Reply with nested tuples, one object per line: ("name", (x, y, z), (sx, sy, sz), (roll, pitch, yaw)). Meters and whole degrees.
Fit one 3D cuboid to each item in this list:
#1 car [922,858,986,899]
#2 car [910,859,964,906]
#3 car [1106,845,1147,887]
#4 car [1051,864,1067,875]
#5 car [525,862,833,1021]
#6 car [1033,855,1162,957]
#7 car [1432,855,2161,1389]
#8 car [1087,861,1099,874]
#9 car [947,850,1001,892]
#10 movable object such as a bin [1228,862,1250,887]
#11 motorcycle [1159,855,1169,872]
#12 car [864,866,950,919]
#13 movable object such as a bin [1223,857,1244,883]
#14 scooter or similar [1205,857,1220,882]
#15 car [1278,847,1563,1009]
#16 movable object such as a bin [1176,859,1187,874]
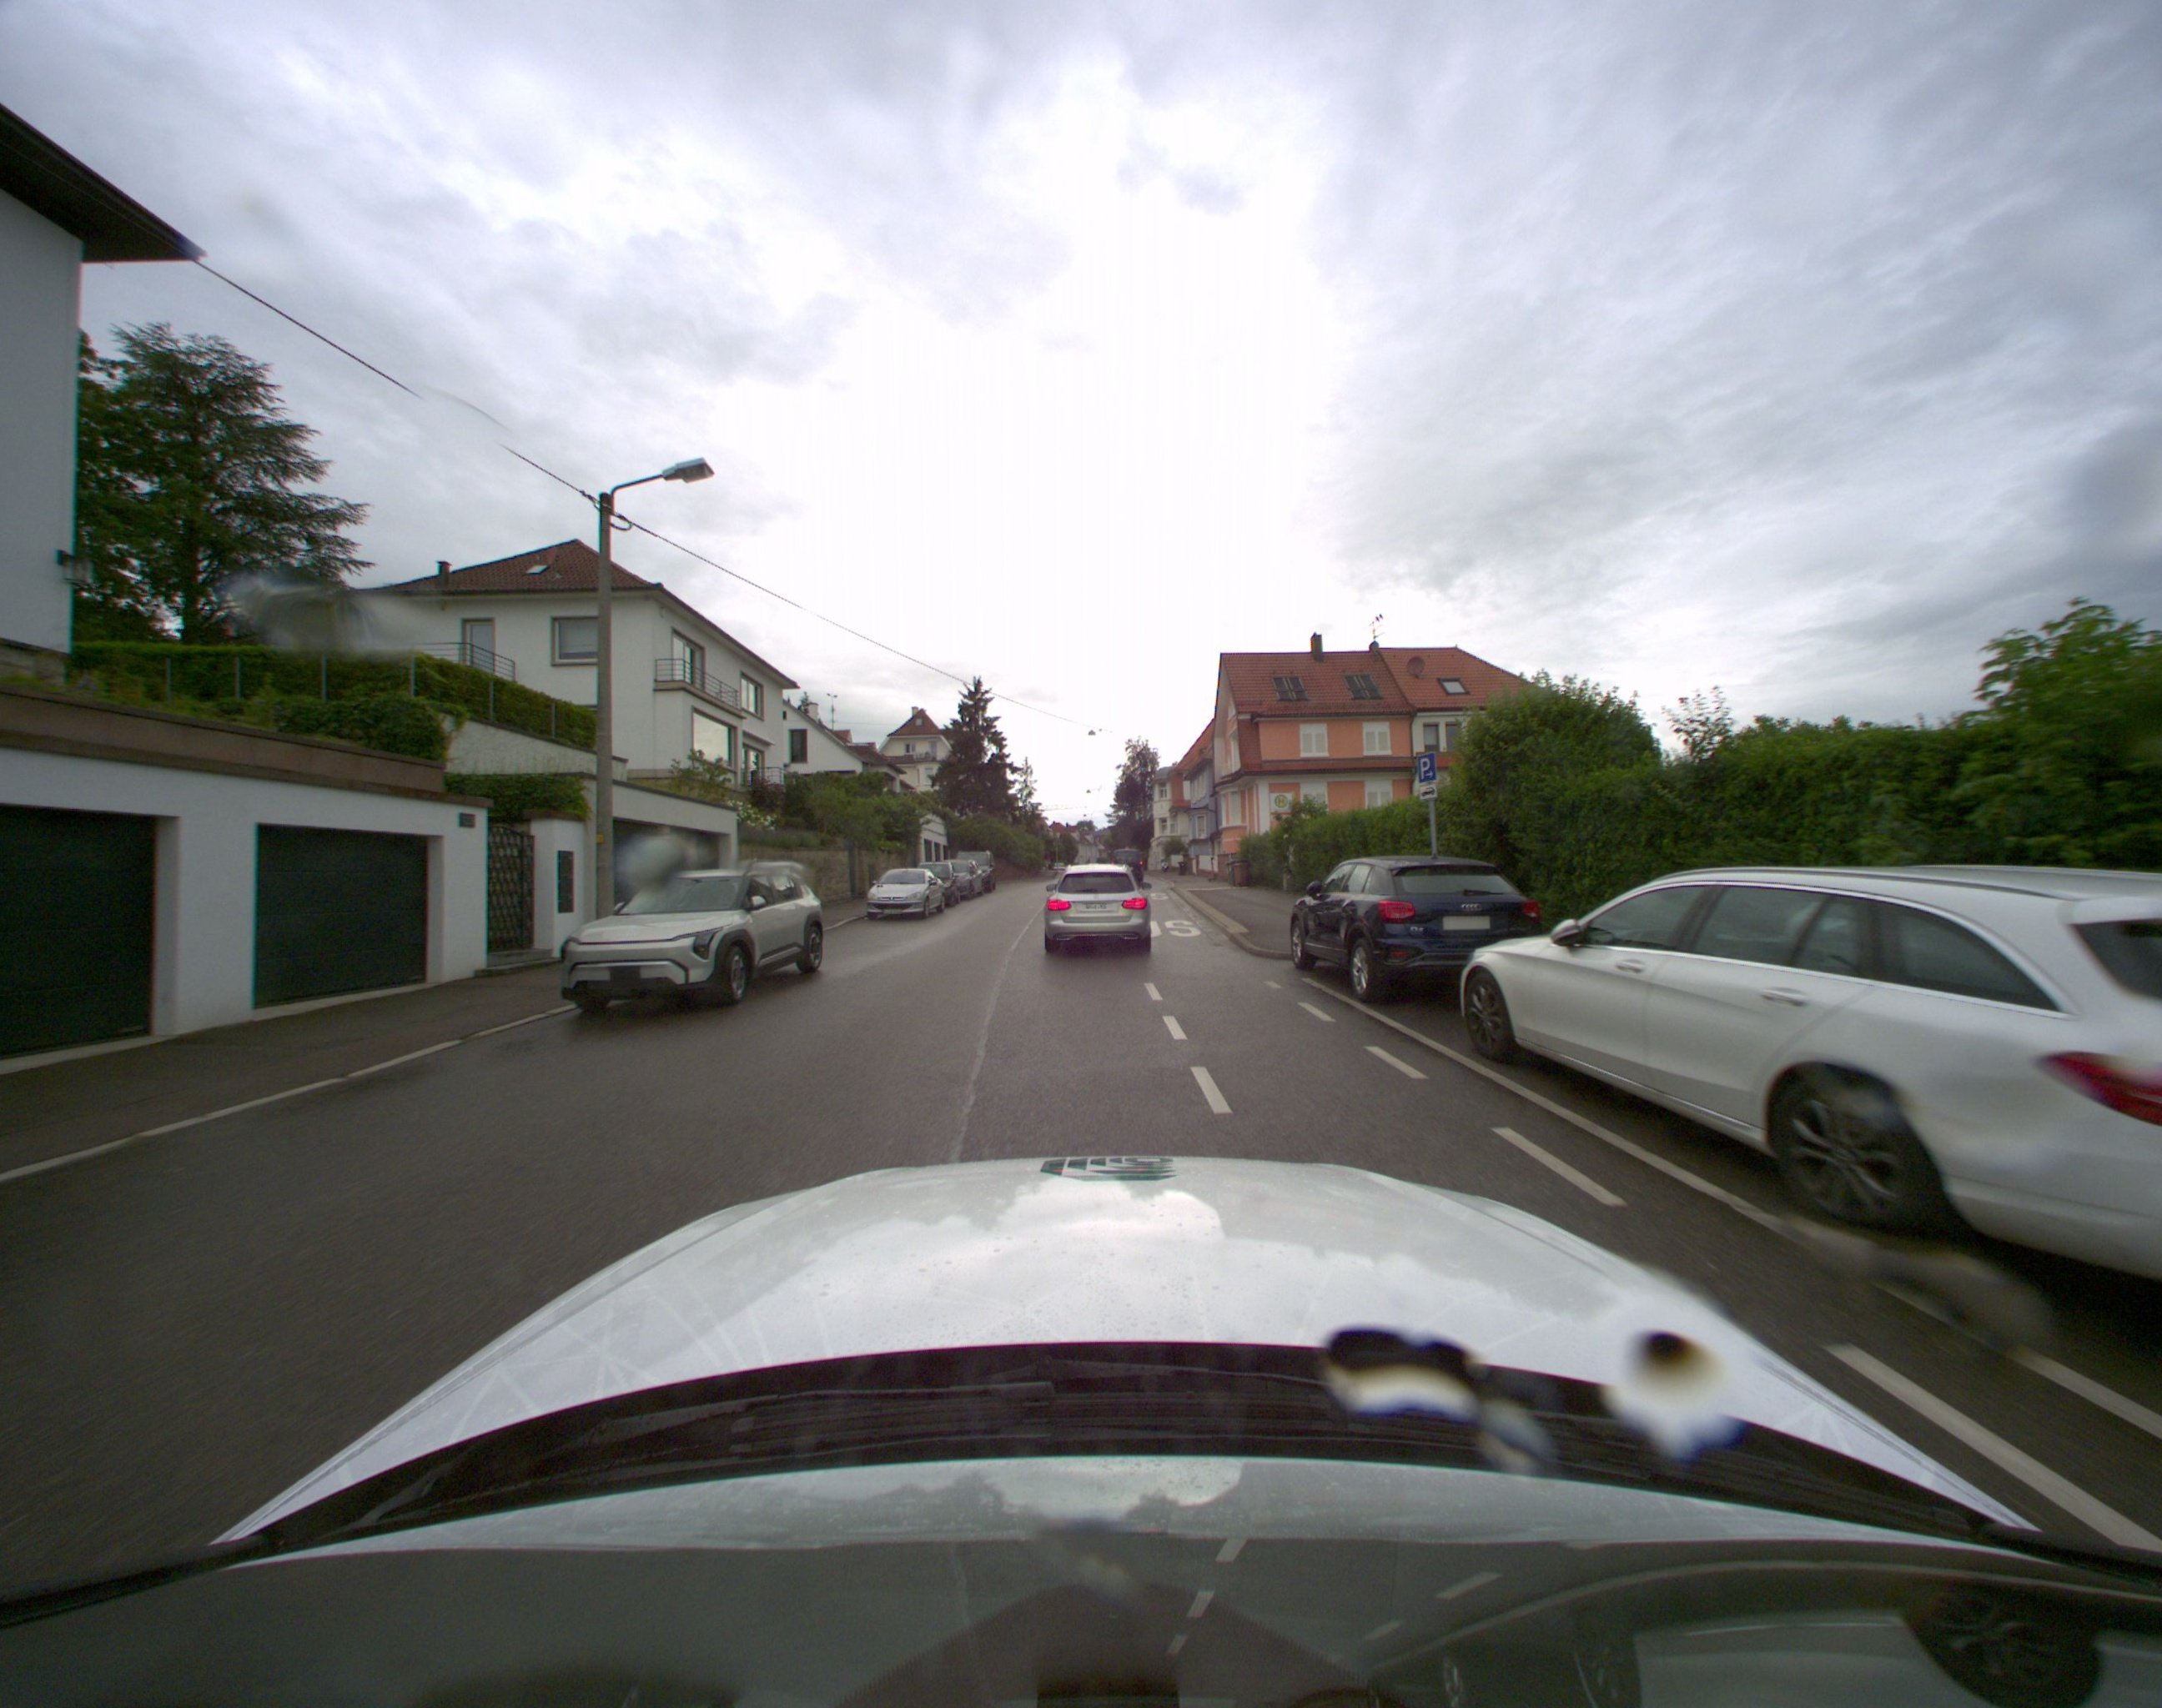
("car", (-5.075, 0.929, 33.129), (1.892, 1.515, 4.342), (0, 0, 0))
("car", (-5.035, 0.953, 28.701), (1.494, 1.524, 3.155), (-1, 0, -4))
("car", (2.301, 0.556, 41.504), (1.817, 1.882, 4.099), (-5, 1, 3))
("car", (-3.059, 2.135, 112.821), (2.110, 1.471, 4.015), (-1, 0, -1))
("car", (-4.912, 0.950, 10.767), (1.892, 1.567, 4.238), (-2, 0, 0))
("car", (0.327, 0.811, 14.757), (1.975, 1.553, 4.300), (0, 0, 2))
("car", (3.770, 0.730, 4.459), (1.708, 1.405, 4.607), (-1, 0, 0))
("car", (2.657, 2.906, 175.743), (2.458, 2.400, 4.001), (-4, 0, 1))
("car", (-5.051, 0.757, 38.999), (2.124, 1.860, 5.587), (0, 0, -3))
("movable object such as a bin", (6.246, 0.806, 32.266), (0.573, 0.969, 0.663), (0, 0, -32))
("motorcycle", (6.486, 0.726, 63.524), (0.579, 1.261, 2.333), (-3, 0, 4))
("car", (-4.977, 1.058, 23.718), (1.604, 1.337, 3.841), (-1, 0, 1))
("movable object such as a bin", (6.399, 0.676, 34.216), (0.709, 1.030, 0.757), (-3, 0, -1))
("scooter or similar", (6.755, 0.782, 41.889), (0.689, 1.224, 1.302), (-1, 0, 8))
("car", (3.754, 0.720, 9.886), (1.748, 1.530, 4.206), (-1, 0, 1))
("movable object such as a bin", (6.635, 0.825, 53.789), (0.547, 0.936, 0.634), (-4, 0, 0))
